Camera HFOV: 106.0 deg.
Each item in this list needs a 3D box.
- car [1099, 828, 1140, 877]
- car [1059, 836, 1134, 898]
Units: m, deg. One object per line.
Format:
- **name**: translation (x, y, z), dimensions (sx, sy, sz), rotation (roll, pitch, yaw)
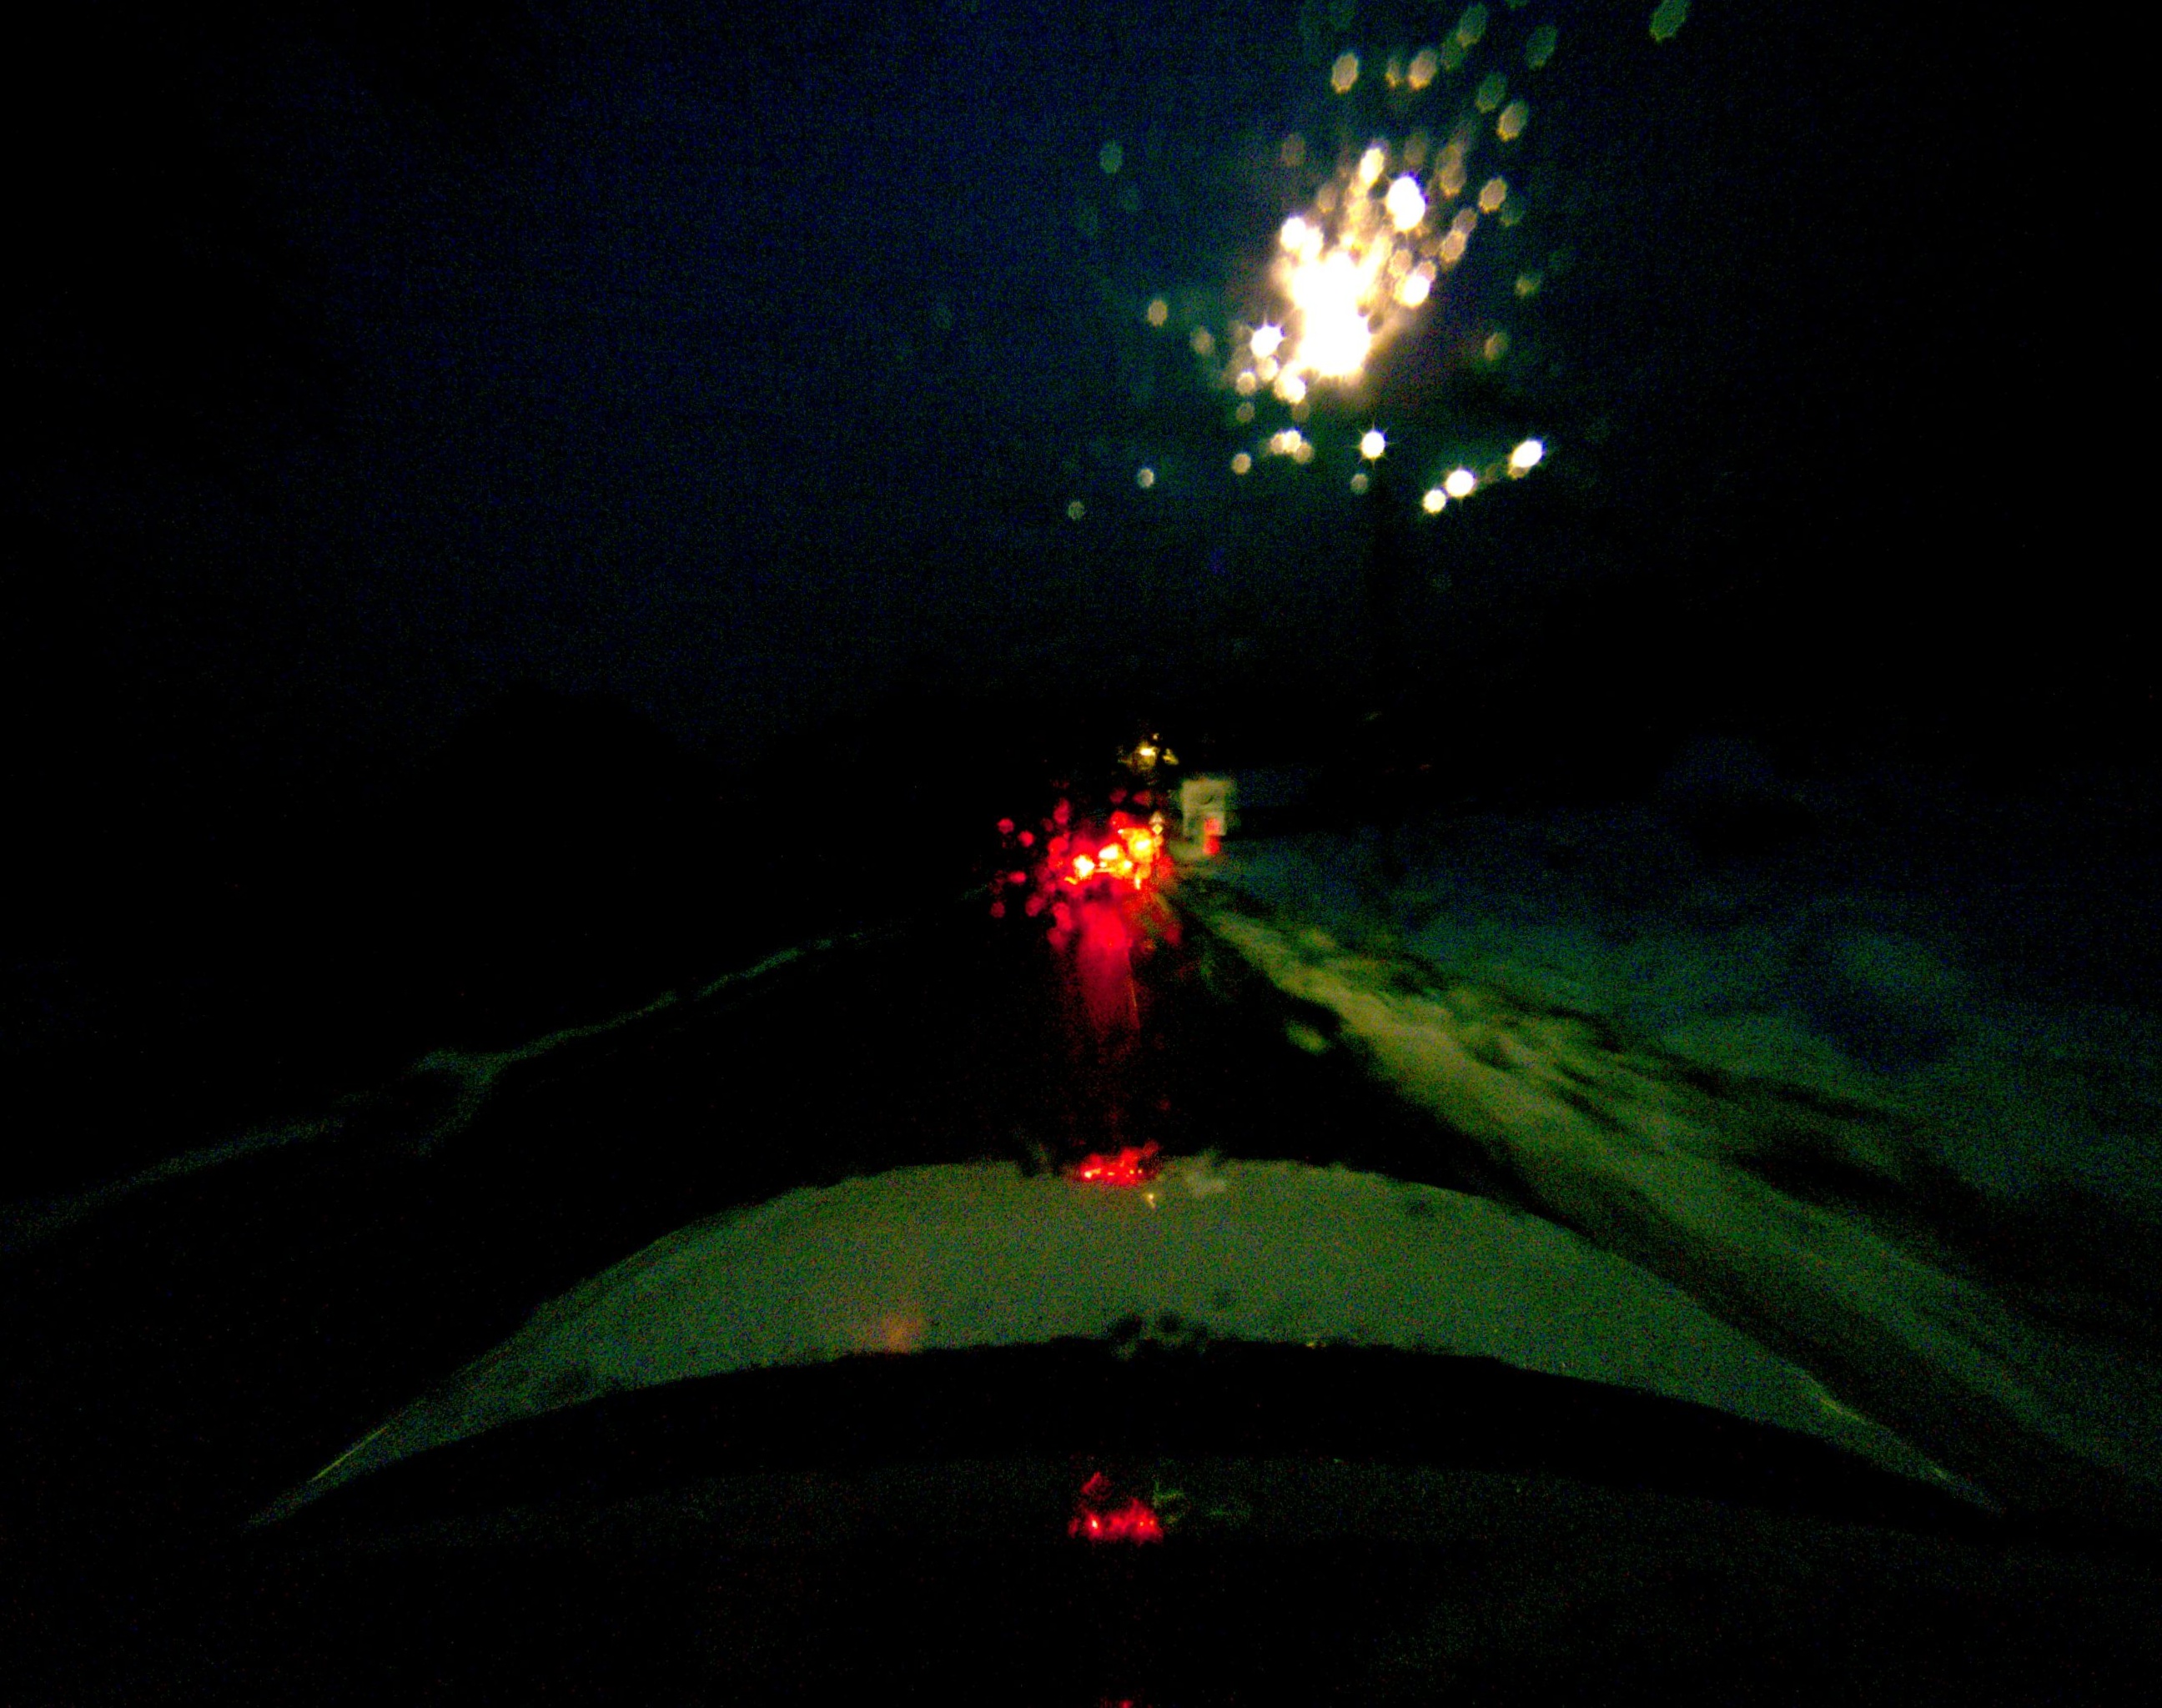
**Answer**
- **car**: translation (2.619, -0.048, 55.220), dimensions (2.425, 3.018, 5.329), rotation (-4, -1, 3)
- **car**: translation (0.500, 0.393, 28.009), dimensions (2.267, 1.840, 5.006), rotation (-3, 0, 0)
